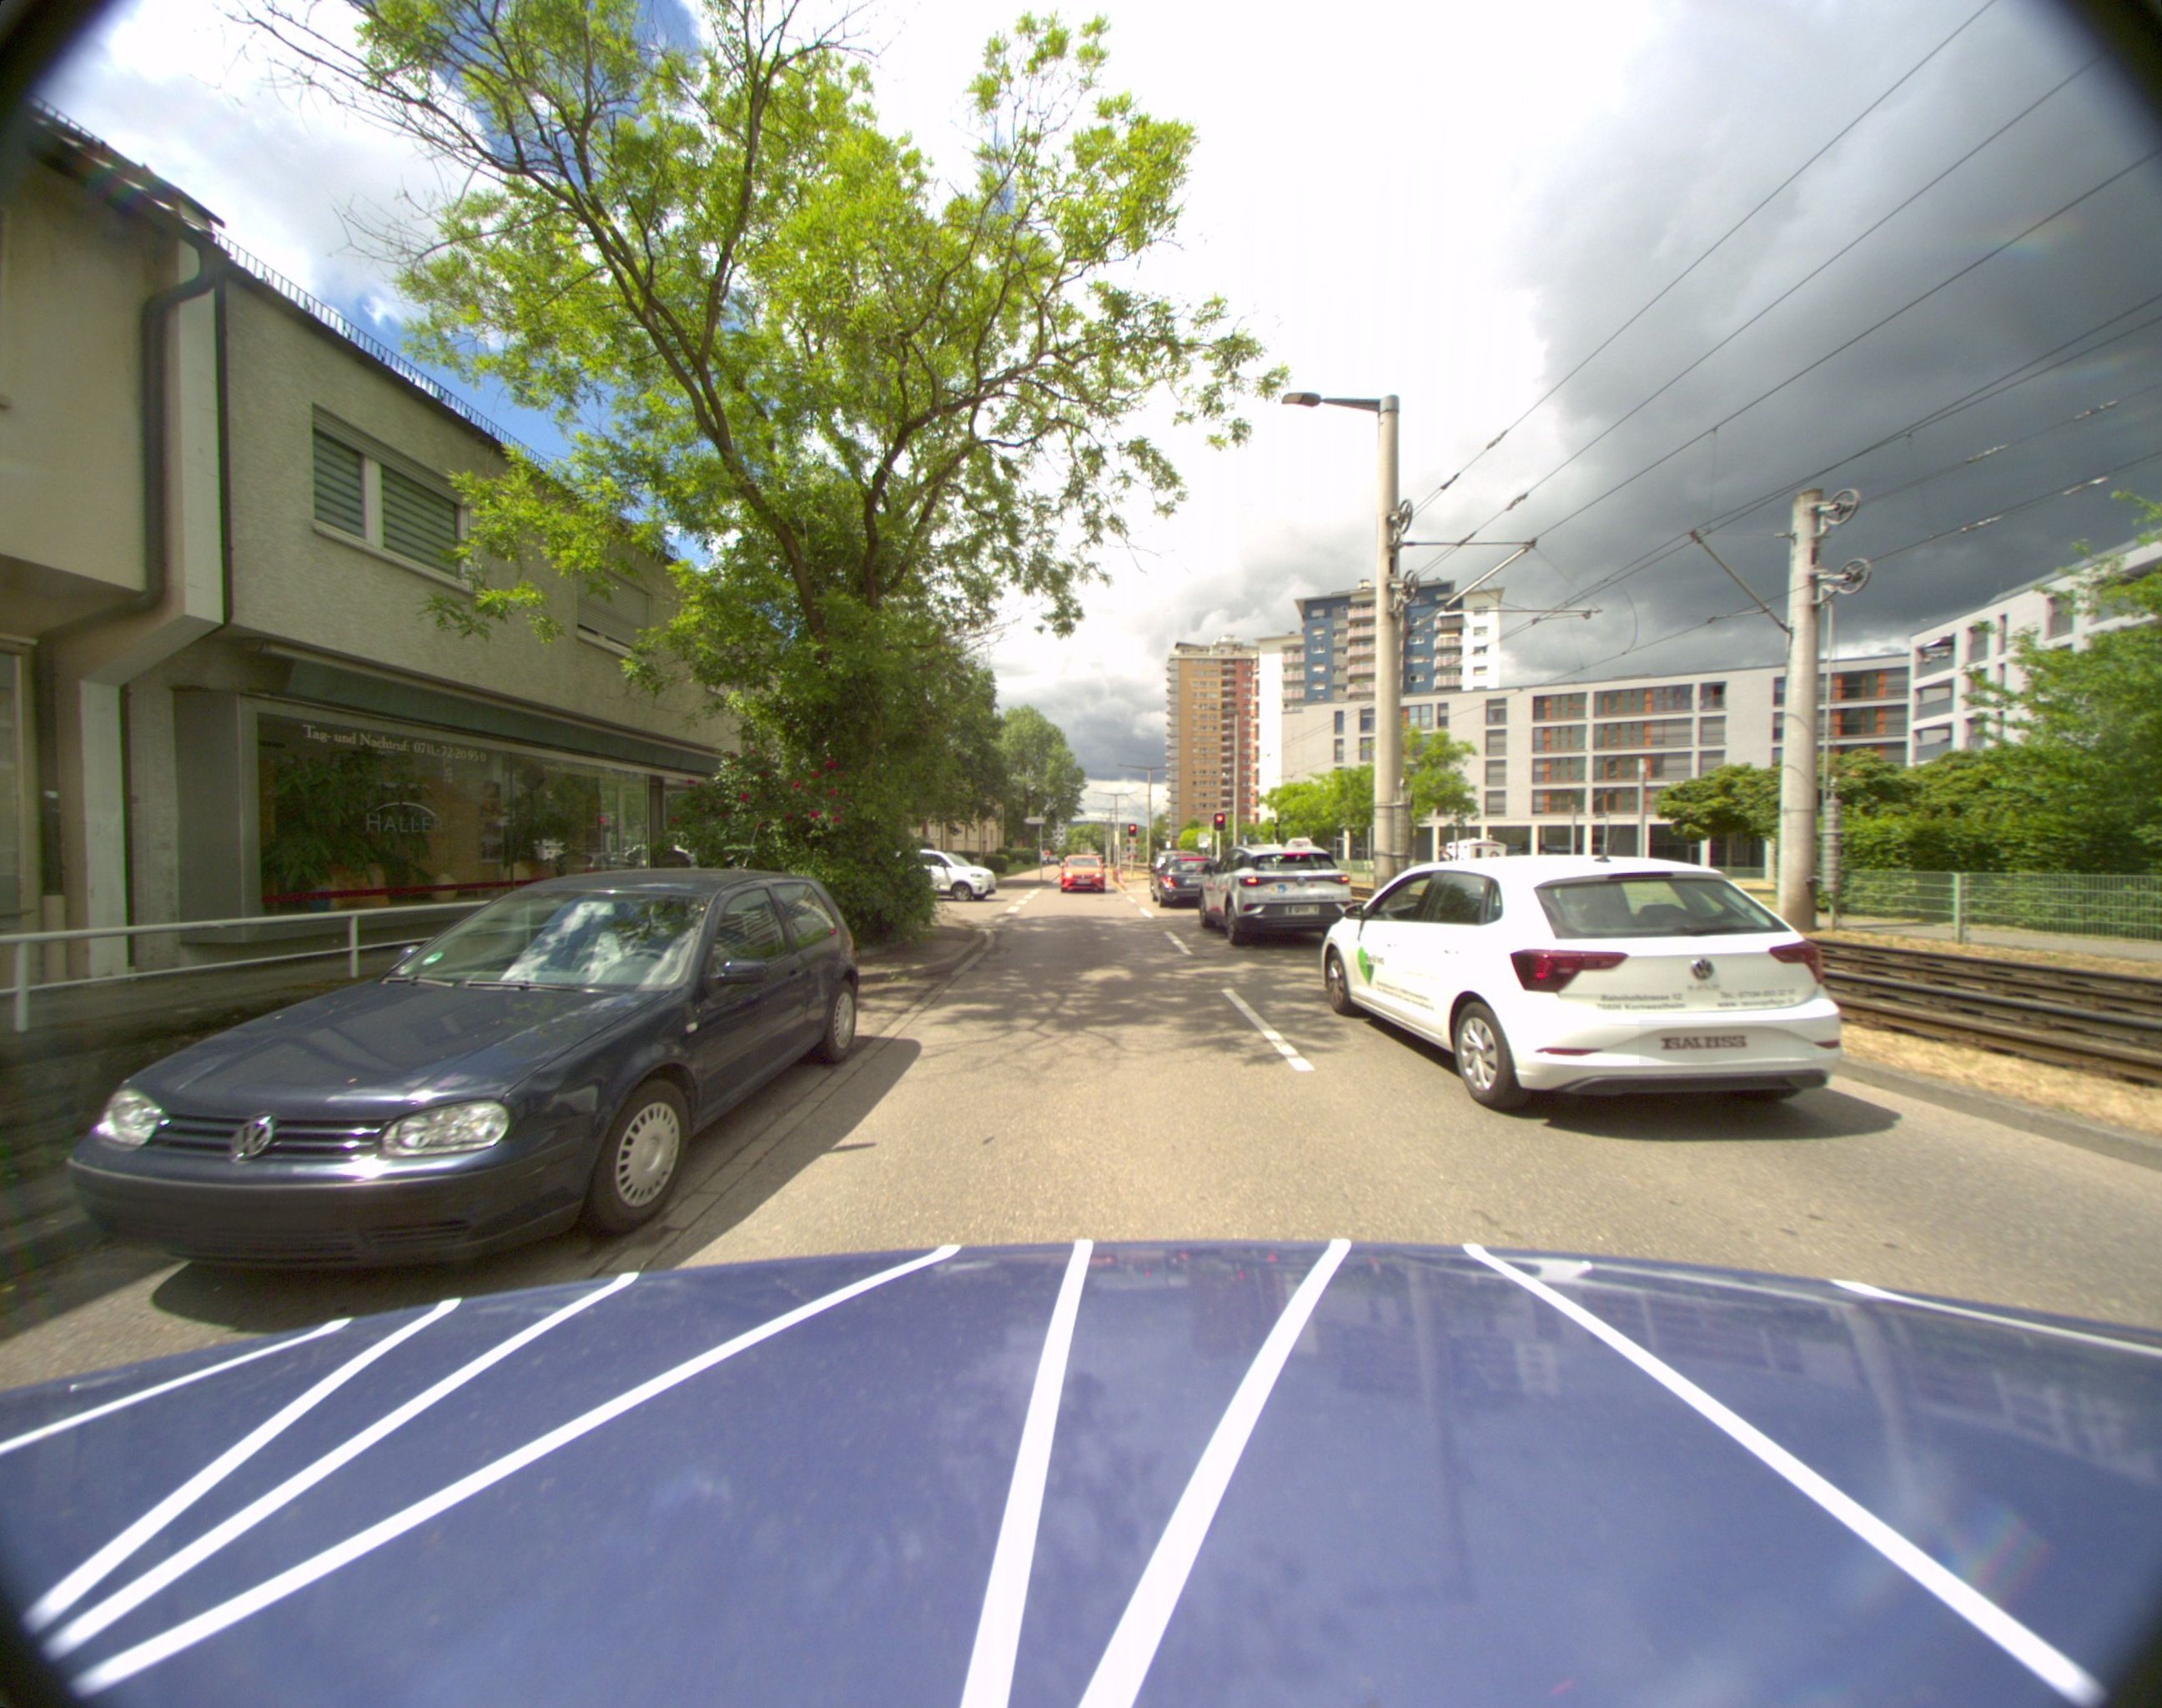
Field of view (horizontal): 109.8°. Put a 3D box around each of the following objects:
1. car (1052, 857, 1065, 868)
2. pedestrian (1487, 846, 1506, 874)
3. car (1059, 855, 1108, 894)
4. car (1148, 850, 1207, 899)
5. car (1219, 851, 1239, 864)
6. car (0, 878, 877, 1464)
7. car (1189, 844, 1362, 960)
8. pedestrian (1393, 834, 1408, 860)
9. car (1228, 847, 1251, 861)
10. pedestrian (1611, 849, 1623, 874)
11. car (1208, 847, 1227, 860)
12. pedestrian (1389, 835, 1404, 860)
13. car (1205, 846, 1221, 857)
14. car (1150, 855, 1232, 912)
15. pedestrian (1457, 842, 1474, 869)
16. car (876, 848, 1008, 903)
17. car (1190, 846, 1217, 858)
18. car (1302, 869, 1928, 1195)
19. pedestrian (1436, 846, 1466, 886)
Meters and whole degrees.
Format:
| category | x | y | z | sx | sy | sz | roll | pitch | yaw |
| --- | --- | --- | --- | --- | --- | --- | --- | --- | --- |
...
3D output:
| category | x | y | z | sx | sy | sz | roll | pitch | yaw |
| --- | --- | --- | --- | --- | --- | --- | --- | --- | --- |
| car | -3.407 | 1.281 | 118.060 | 1.843 | 1.649 | 3.789 | -1 | 1 | 0 |
| pedestrian | 24.003 | 0.324 | 43.893 | 0.538 | 1.601 | 0.748 | -1 | 1 | -22 |
| car | 0.150 | 0.762 | 30.257 | 1.791 | 1.387 | 4.242 | 1 | 1 | 2 |
| car | 3.502 | 0.710 | 28.261 | 1.862 | 1.650 | 4.176 | -1 | 1 | 3 |
| car | 18.162 | 0.391 | 93.284 | 1.781 | 1.531 | 3.803 | -1 | 1 | 0 |
| car | -2.680 | 0.952 | 4.151 | 1.818 | 1.455 | 4.041 | -1 | 1 | 3 |
| car | 3.181 | 0.692 | 13.385 | 1.862 | 1.681 | 4.433 | -1 | 1 | -1 |
| pedestrian | 21.035 | -0.452 | 50.037 | 0.749 | 1.644 | 0.538 | -1 | 1 | 1 |
| car | 18.101 | -0.011 | 86.849 | 1.781 | 1.531 | 3.803 | -1 | 1 | 0 |
| pedestrian | 42.504 | 0.595 | 60.251 | 0.748 | 1.895 | 0.539 | -1 | 1 | 28 |
| car | 17.900 | -0.073 | 99.923 | 1.781 | 1.531 | 3.803 | -1 | 1 | 0 |
| pedestrian | 21.074 | -0.455 | 50.721 | 0.749 | 1.644 | 0.538 | -1 | 1 | 1 |
| car | 20.817 | -0.404 | 119.928 | 1.781 | 1.650 | 3.803 | -1 | 1 | 0 |
| car | 3.057 | 0.773 | 21.997 | 1.815 | 1.437 | 4.465 | -1 | 1 | 1 |
| pedestrian | 28.984 | 0.134 | 57.320 | 0.734 | 2.002 | 0.910 | -1 | 1 | -17 |
| car | -4.342 | 0.639 | 24.004 | 3.642 | 1.562 | 1.843 | 1 | 1 | 13 |
| car | 20.028 | -0.365 | 124.320 | 4.505 | 1.914 | 1.877 | -1 | 1 | -40 |
| car | 3.076 | 0.871 | 5.525 | 1.751 | 1.398 | 3.939 | -1 | 1 | -1 |
| pedestrian | 15.300 | 0.493 | 31.433 | 0.756 | 1.603 | 0.938 | -1 | 1 | 0 |
